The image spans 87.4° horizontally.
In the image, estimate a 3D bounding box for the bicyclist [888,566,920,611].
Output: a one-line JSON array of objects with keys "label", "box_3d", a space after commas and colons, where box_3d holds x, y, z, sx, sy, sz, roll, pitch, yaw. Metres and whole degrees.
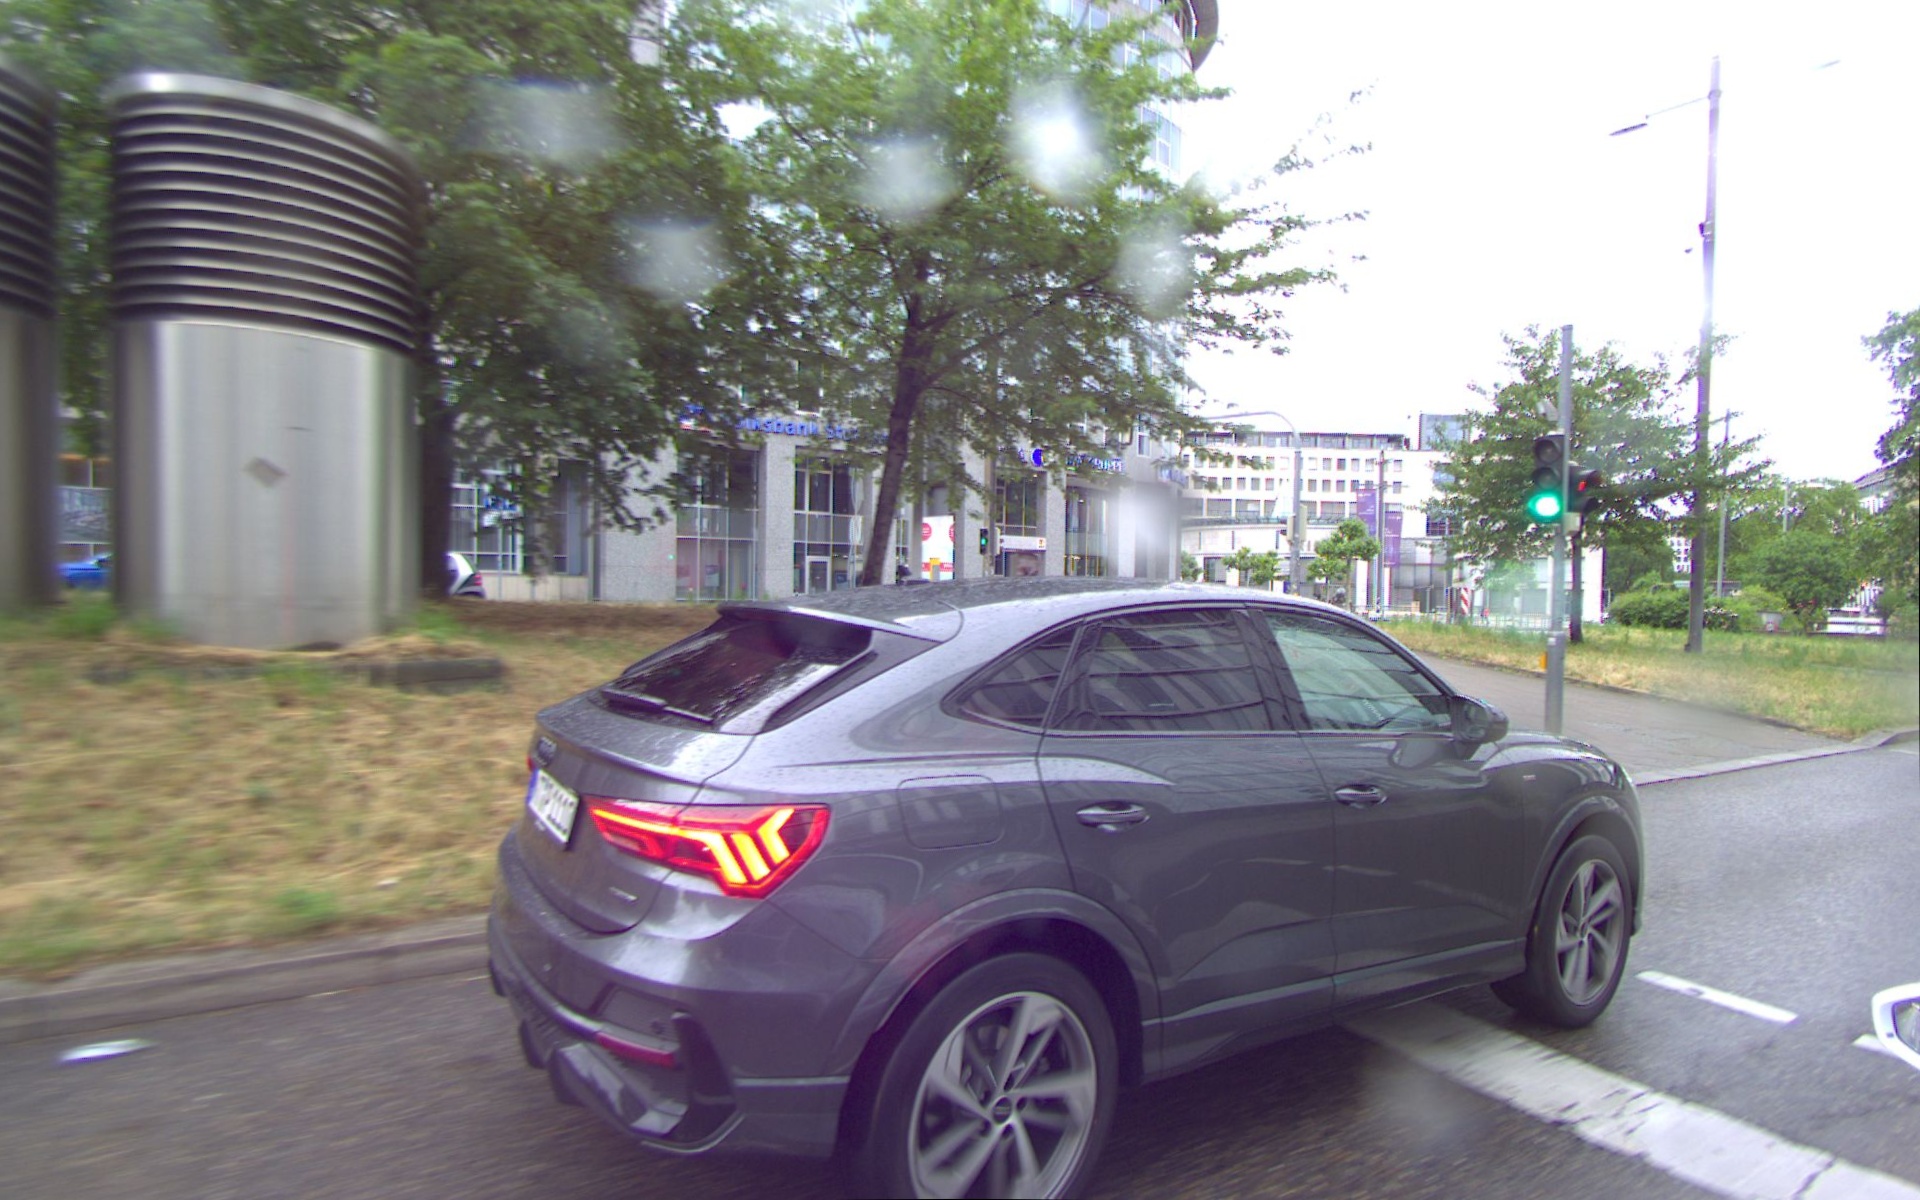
[{"label": "bicyclist", "box_3d": [-2.246, -0.454, 40.550, 1.031, 1.764, 0.732, 1, 0, -35]}]

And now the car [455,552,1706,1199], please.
[{"label": "car", "box_3d": [0.701, 0.723, 3.620, 4.300, 1.538, 1.849, 2, 1, -34]}]

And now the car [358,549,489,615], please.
[{"label": "car", "box_3d": [-12.624, -0.425, 23.647, 2.600, 1.404, 1.232, 2, 2, -34]}]

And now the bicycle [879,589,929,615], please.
[{"label": "bicycle", "box_3d": [-2.239, 0.077, 40.563, 1.915, 1.020, 0.739, 2, 0, -36]}]

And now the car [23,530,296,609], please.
[{"label": "car", "box_3d": [-16.423, -0.605, 20.863, 4.282, 1.404, 1.662, 2, 2, -38]}]

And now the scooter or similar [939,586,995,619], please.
[{"label": "scooter or similar", "box_3d": [0.275, 0.103, 40.555, 2.226, 1.229, 0.767, 2, 1, -37]}]

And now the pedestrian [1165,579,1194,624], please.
[{"label": "pedestrian", "box_3d": [10.288, 0.067, 47.066, 0.840, 2.040, 1.029, 2, 0, 44]}]

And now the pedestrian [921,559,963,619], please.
[{"label": "pedestrian", "box_3d": [-0.593, -0.358, 32.839, 0.946, 1.906, 0.927, 2, 0, 44]}]

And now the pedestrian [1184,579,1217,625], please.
[{"label": "pedestrian", "box_3d": [11.108, 0.091, 46.418, 1.041, 2.040, 1.029, 2, 0, 44]}]
